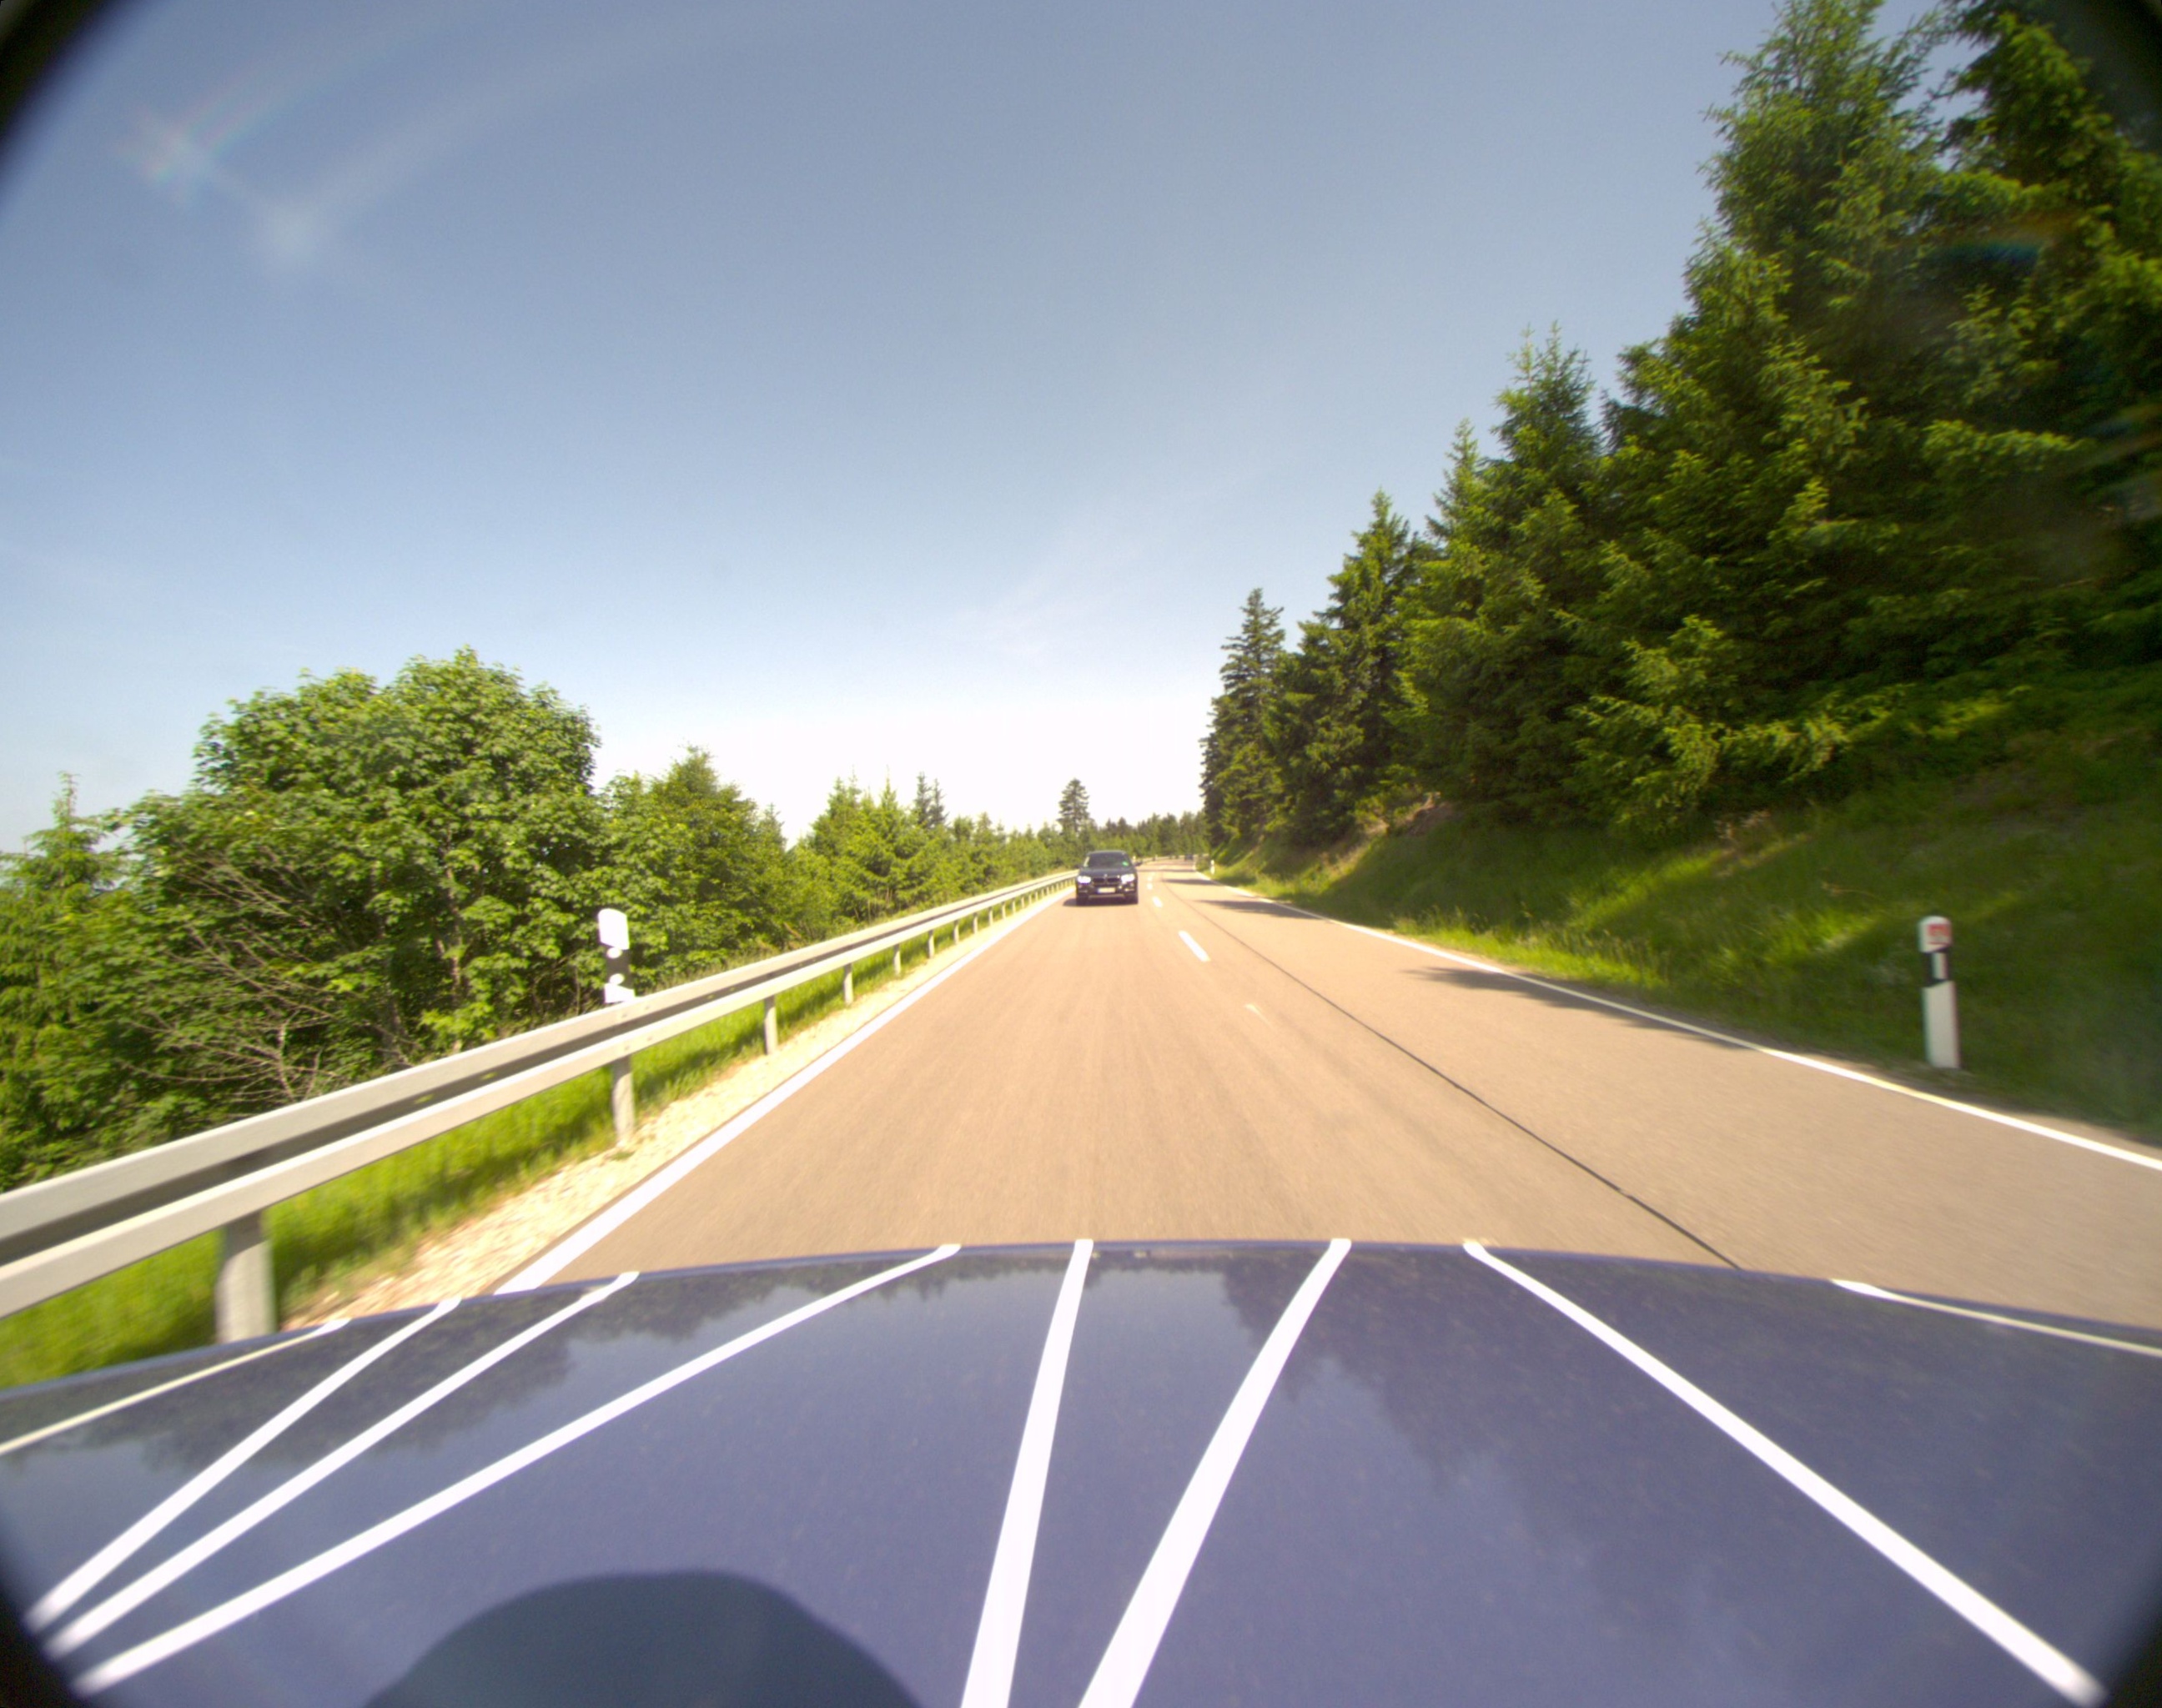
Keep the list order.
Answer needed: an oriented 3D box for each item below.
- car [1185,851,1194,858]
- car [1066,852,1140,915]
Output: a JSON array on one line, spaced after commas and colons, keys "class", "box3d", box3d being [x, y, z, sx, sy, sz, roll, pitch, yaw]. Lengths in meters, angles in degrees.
[{"class": "car", "box3d": [21.757, 0.123, 152.187, 1.688, 1.406, 3.263, 0, 0, 6]}, {"class": "car", "box3d": [0.819, 0.812, 23.769, 1.998, 1.676, 5.938, -1, 0, 4]}]
